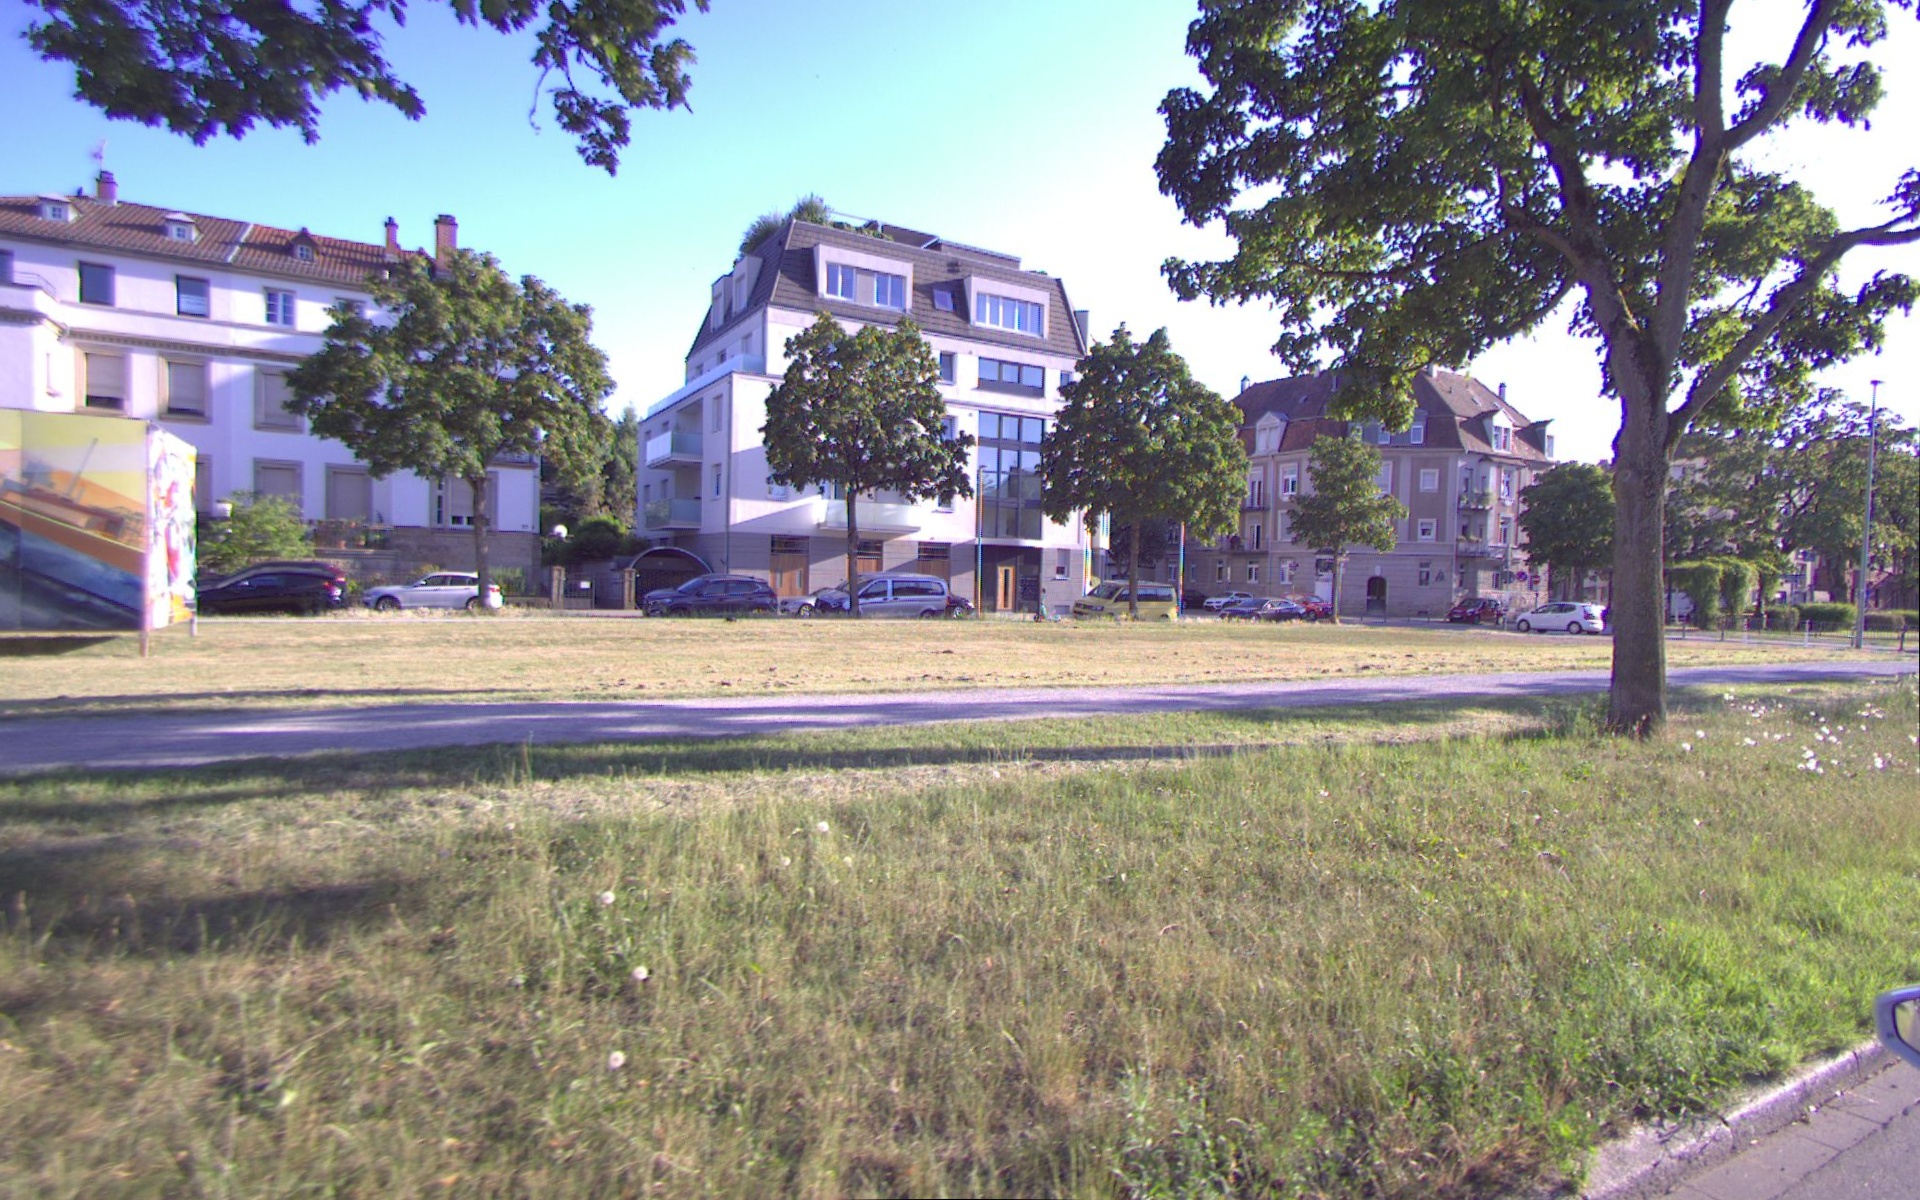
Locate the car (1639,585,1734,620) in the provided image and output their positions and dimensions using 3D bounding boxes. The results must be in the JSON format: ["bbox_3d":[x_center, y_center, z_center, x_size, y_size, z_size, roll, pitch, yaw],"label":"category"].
[{"bbox_3d":[60.640,0.168,83.966,6.203,2.757,1.998,1,1,30],"label":"car"}]

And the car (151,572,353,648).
[{"bbox_3d":[-19.053,0.336,27.310,4.277,1.941,1.881,1,-3,-31],"label":"car"}]

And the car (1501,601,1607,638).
[{"bbox_3d":[27.927,0.956,47.326,1.974,1.617,3.881,1,-3,-26],"label":"car"}]

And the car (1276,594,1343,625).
[{"bbox_3d":[19.556,0.510,56.369,1.659,1.501,3.580,-1,2,-20],"label":"car"}]

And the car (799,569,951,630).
[{"bbox_3d":[-3.078,0.041,36.909,5.315,2.027,2.007,2,-3,-34],"label":"car"}]

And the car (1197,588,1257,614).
[{"bbox_3d":[18.819,0.108,70.731,4.027,1.658,1.690,1,-3,-29],"label":"car"}]

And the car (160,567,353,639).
[{"bbox_3d":[-22.408,0.172,32.294,4.795,2.158,2.229,1,-3,-29],"label":"car"}]

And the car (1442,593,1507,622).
[{"bbox_3d":[33.132,0.514,64.612,4.241,1.729,1.637,1,-3,-29],"label":"car"}]

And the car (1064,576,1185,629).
[{"bbox_3d":[6.999,0.163,42.592,4.992,2.084,1.985,1,-3,-30],"label":"car"}]

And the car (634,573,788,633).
[{"bbox_3d":[-8.261,0.162,33.441,4.636,1.852,1.919,1,-3,-30],"label":"car"}]

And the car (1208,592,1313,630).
[{"bbox_3d":[14.109,0.546,47.109,4.769,1.658,1.975,1,-3,-29],"label":"car"}]

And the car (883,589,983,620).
[{"bbox_3d":[-1.206,0.187,44.895,4.011,1.295,1.986,1,1,-28],"label":"car"}]

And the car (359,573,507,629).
[{"bbox_3d":[-18.146,0.091,34.724,4.406,1.767,1.813,1,-3,-30],"label":"car"}]

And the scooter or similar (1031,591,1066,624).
[{"bbox_3d":[3.130,0.264,35.331,1.285,1.142,0.389,0,2,-38],"label":"scooter or similar"}]
